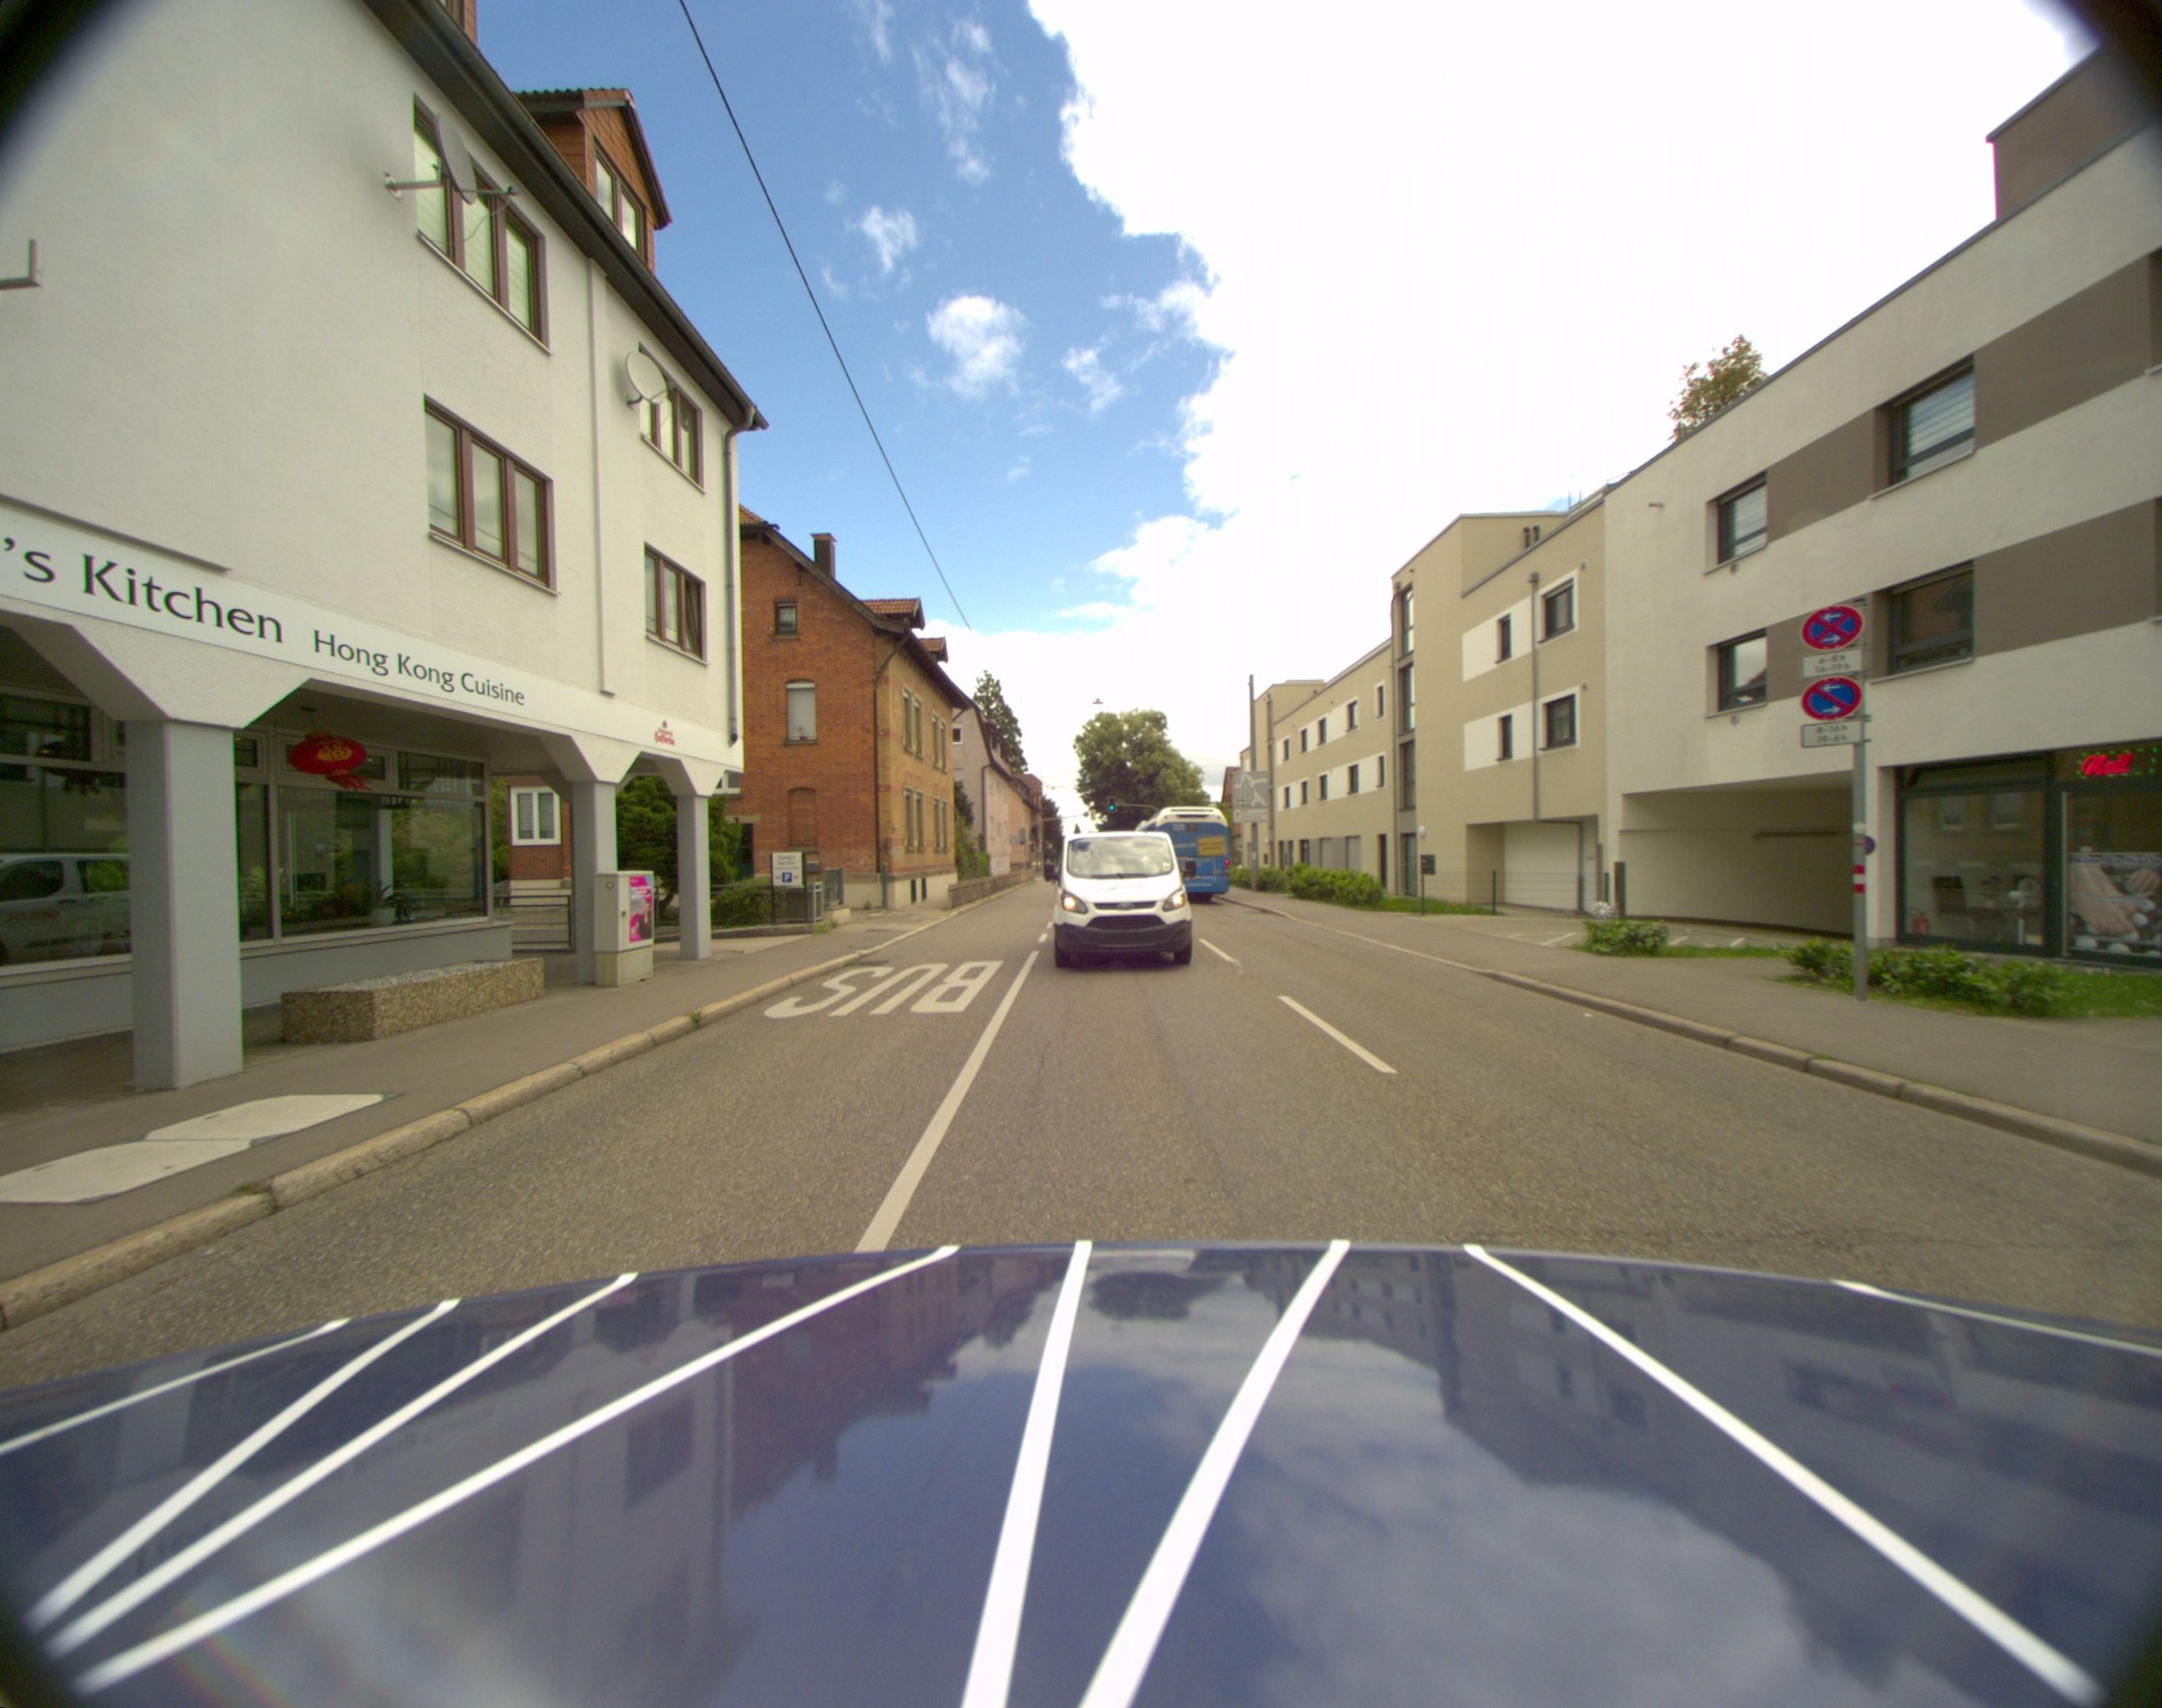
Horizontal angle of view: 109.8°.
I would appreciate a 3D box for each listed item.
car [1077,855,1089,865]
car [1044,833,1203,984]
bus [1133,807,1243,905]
[{"bbox_3d":[0.296,0.963,120.161,1.755,1.485,3.986,-1,0,0],"label":"car"},{"bbox_3d":[0.561,0.714,12.541,2.062,1.945,5.060,-1,0,0],"label":"car"},{"bbox_3d":[4.000,0.084,31.470,2.950,3.254,12.008,0,0,0],"label":"bus"}]
